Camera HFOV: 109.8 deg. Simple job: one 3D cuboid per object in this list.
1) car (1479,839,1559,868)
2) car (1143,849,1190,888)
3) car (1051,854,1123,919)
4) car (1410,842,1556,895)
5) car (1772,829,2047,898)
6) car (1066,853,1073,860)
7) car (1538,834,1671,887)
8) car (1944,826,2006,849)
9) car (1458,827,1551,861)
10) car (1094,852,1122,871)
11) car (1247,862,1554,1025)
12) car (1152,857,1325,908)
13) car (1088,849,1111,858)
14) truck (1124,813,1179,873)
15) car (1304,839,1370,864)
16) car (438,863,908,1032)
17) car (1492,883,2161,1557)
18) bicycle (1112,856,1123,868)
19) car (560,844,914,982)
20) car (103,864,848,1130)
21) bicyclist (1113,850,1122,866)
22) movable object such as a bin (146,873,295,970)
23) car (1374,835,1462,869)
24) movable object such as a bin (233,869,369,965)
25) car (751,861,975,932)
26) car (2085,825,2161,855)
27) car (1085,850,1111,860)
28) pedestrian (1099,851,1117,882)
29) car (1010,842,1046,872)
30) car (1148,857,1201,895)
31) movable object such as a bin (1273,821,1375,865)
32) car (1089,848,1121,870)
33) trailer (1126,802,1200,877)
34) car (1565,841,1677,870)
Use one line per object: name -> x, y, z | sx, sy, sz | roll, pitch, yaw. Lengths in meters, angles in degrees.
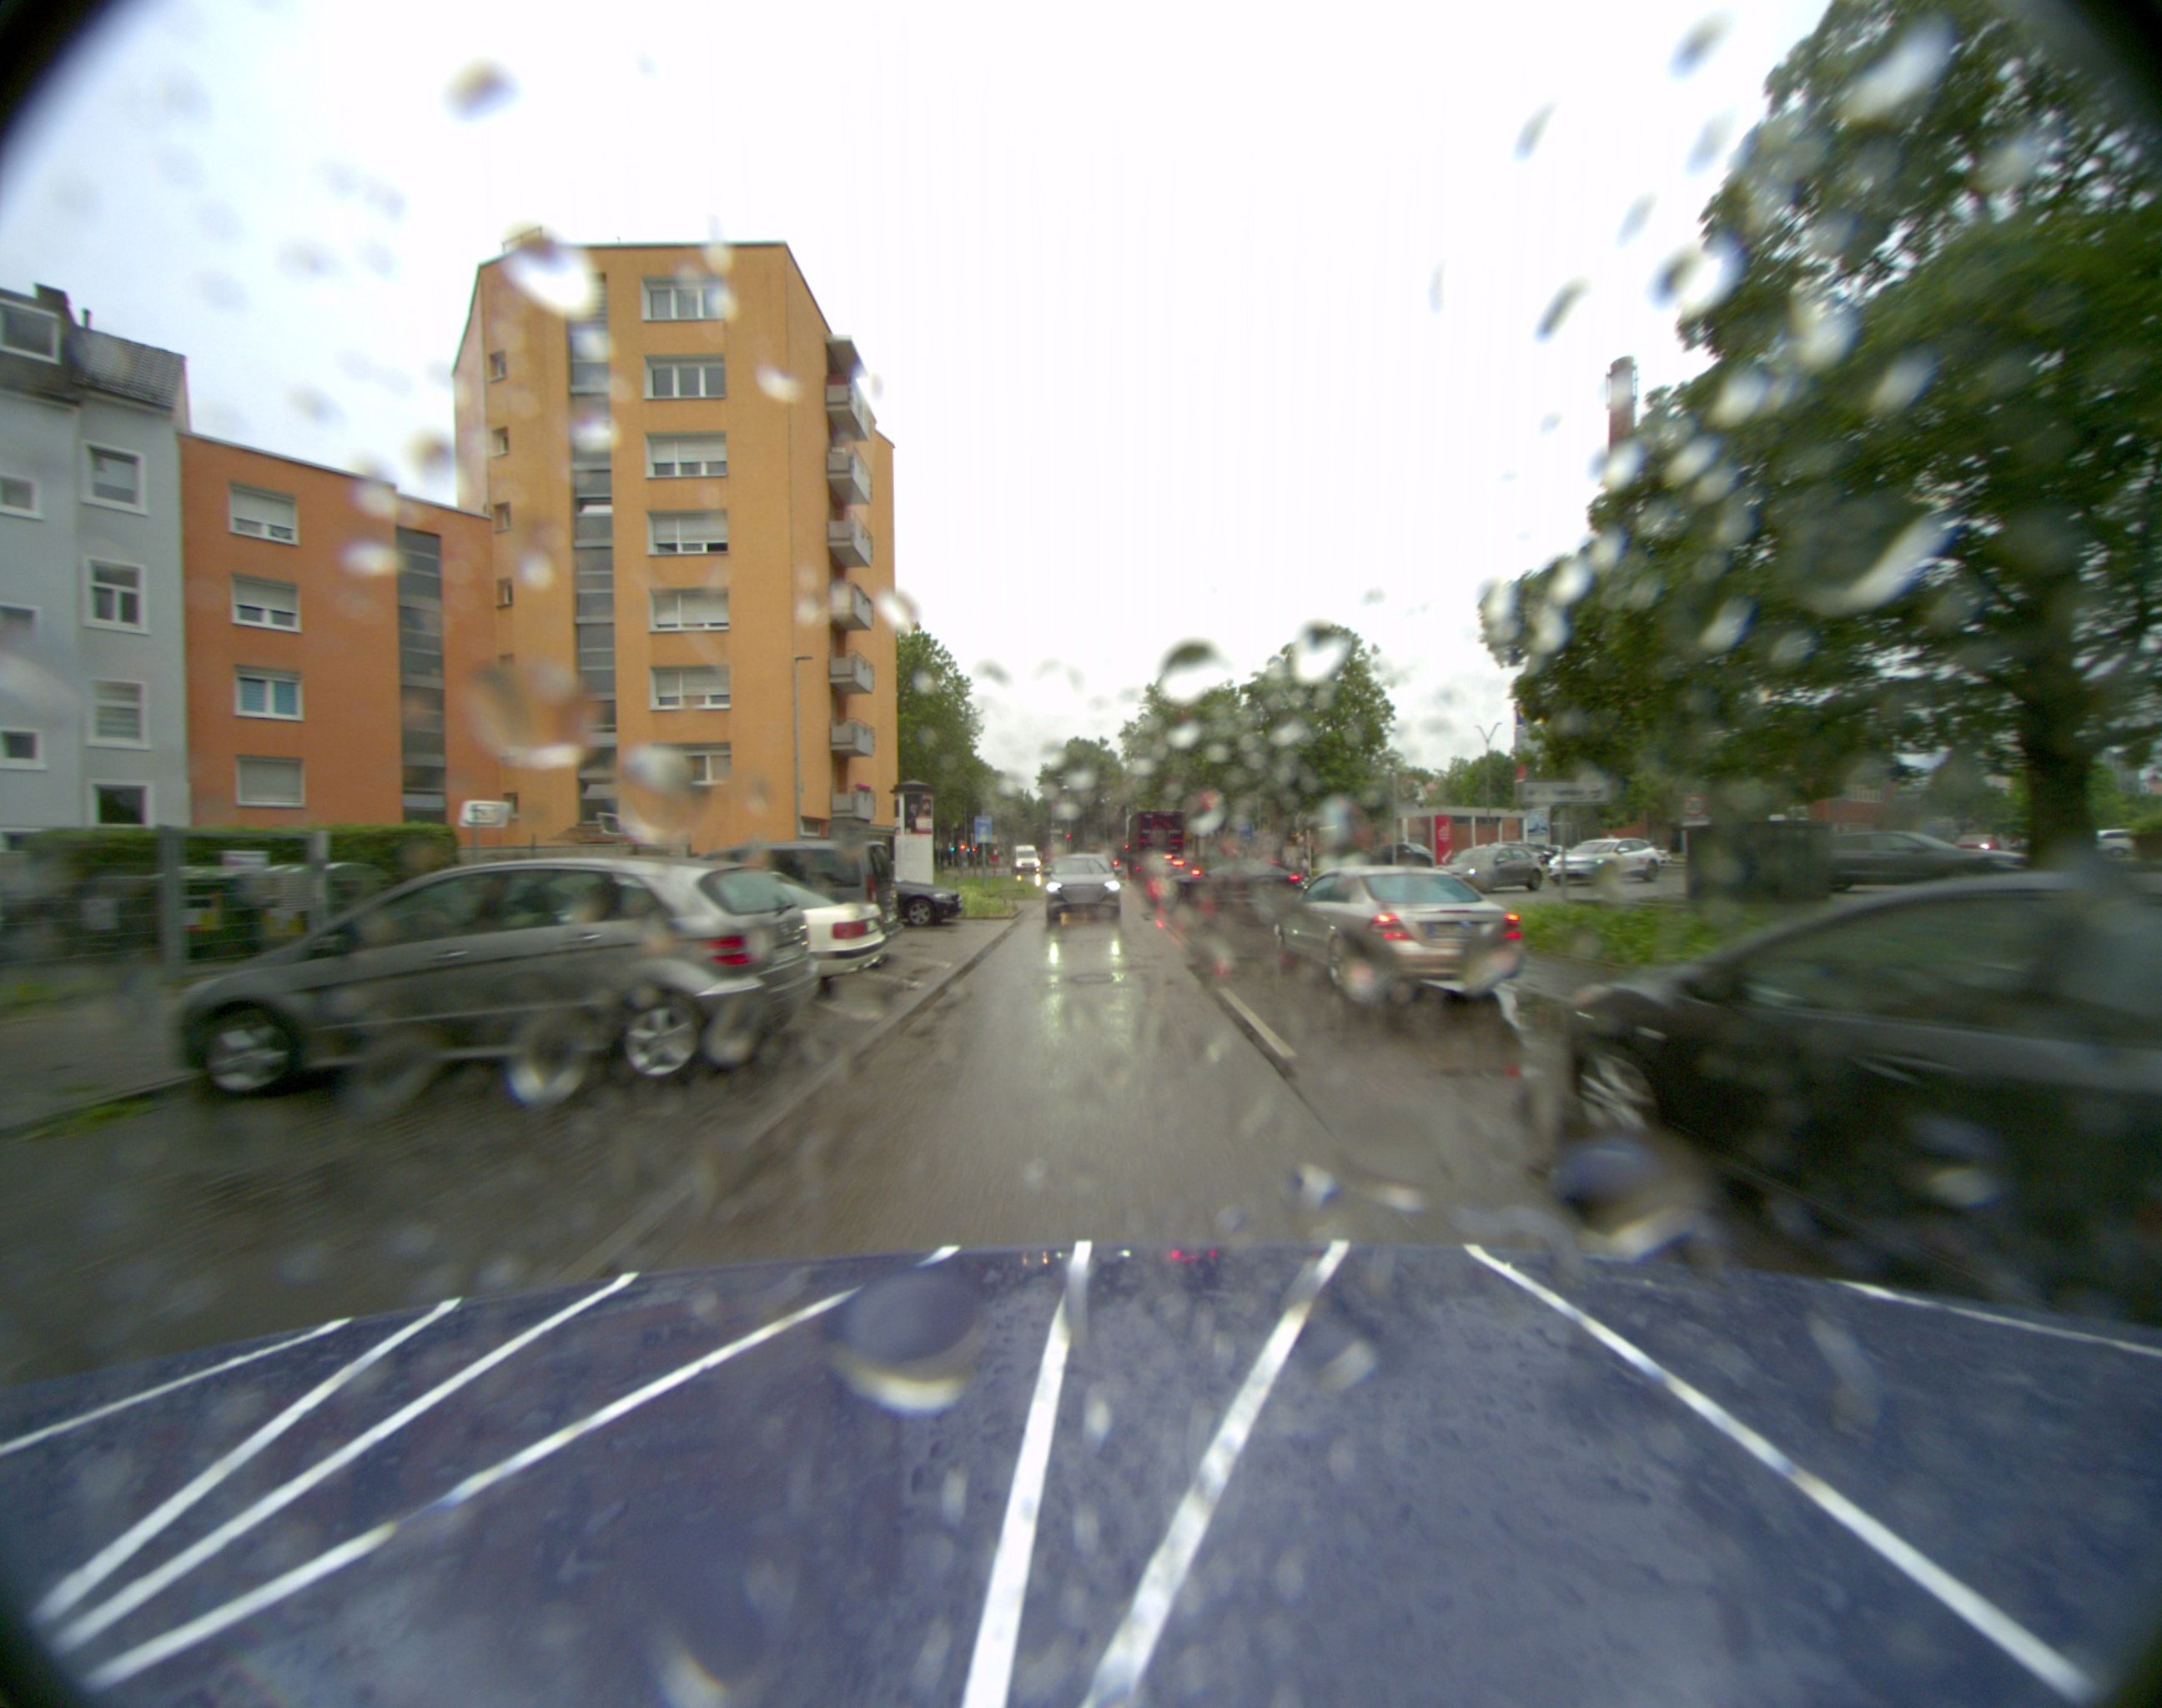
car -> 28.216, 0.001, 49.022 | 2.003, 1.781, 3.992 | -1, -1, -28
car -> 4.040, 0.654, 36.564 | 1.872, 1.610, 4.801 | -1, 2, 2
car -> 0.199, 0.823, 21.189 | 1.809, 1.611, 4.137 | 0, 1, 2
car -> 12.640, 0.414, 23.866 | 4.346, 1.387, 2.008 | -3, 1, -29
car -> 20.269, 0.244, 18.828 | 1.792, 1.500, 4.290 | -1, -1, -29
car -> -3.321, 0.640, 215.259 | 1.999, 1.795, 4.349 | -2, 0, -2
car -> 18.743, 0.181, 27.185 | 4.655, 1.697, 2.041 | -2, 1, -29
car -> 64.340, -1.194, 54.675 | 4.005, 1.566, 1.996 | -2, 0, -27
car -> 26.256, -0.599, 47.268 | 2.003, 2.002, 4.665 | -1, 0, -34
car -> 1.982, 0.536, 56.764 | 1.703, 1.365, 4.099 | -1, 0, -2
car -> 3.548, 0.871, 9.594 | 1.779, 1.395, 4.829 | -2, 1, -1
car -> 4.930, 0.864, 24.068 | 4.914, 1.445, 2.090 | -1, 0, 33
car -> 4.276, -0.161, 173.847 | 5.085, 2.012, 2.034 | 0, 0, 2
truck -> 5.068, -0.754, 55.929 | 3.458, 4.054, 6.974 | -2, 0, 1
car -> 17.704, -0.123, 52.654 | 3.994, 1.591, 2.002 | -2, -1, 9
car -> -4.265, 0.942, 8.517 | 4.200, 1.559, 1.888 | -1, 1, -1
car -> 3.359, 0.886, 2.487 | 1.783, 1.412, 4.265 | -1, 0, 1
bicycle -> 3.315, 0.698, 68.756 | 0.533, 1.018, 1.872 | -1, 0, -12
car -> -4.759, 0.767, 11.075 | 4.243, 1.795, 1.944 | 0, 1, -2
car -> -4.231, 0.946, 5.903 | 4.192, 1.562, 1.890 | -2, 1, 0
bicyclist -> 3.312, 0.376, 68.793 | 0.581, 1.452, 1.010 | -1, 1, -12
movable object such as a bin -> -13.062, 1.003, 11.562 | 1.218, 1.369, 0.955 | -1, 0, 8
car -> 18.622, -0.117, 42.129 | 2.003, 1.780, 3.990 | -1, 0, -30
movable object such as a bin -> -11.744, 0.929, 11.465 | 1.237, 1.369, 0.823 | -1, 0, 8
car -> -4.893, 0.932, 17.527 | 4.544, 1.462, 1.983 | -1, 1, 1
car -> 72.683, -0.950, 51.809 | 2.003, 2.002, 4.939 | -1, 0, -33
car -> 3.000, 0.173, 136.180 | 4.668, 1.862, 2.034 | 0, 0, 2
pedestrian -> 1.624, 0.747, 45.933 | 0.869, 1.833, 0.993 | -1, 0, 14
car -> -4.934, 0.274, 69.538 | 2.285, 2.547, 6.504 | -2, 0, -12
car -> 3.595, 0.818, 29.784 | 1.730, 1.353, 4.338 | 0, 0, 3
movable object such as a bin -> 17.634, -0.757, 55.550 | 6.767, 2.913, 2.777 | -2, 0, 11
car -> 1.946, 0.471, 63.449 | 2.080, 1.672, 4.928 | -4, -1, -5
trailer -> 4.910, -0.773, 48.931 | 3.450, 4.025, 15.051 | -1, 0, 1
car -> 27.262, 0.081, 38.506 | 1.626, 1.371, 4.299 | -1, 0, -30
